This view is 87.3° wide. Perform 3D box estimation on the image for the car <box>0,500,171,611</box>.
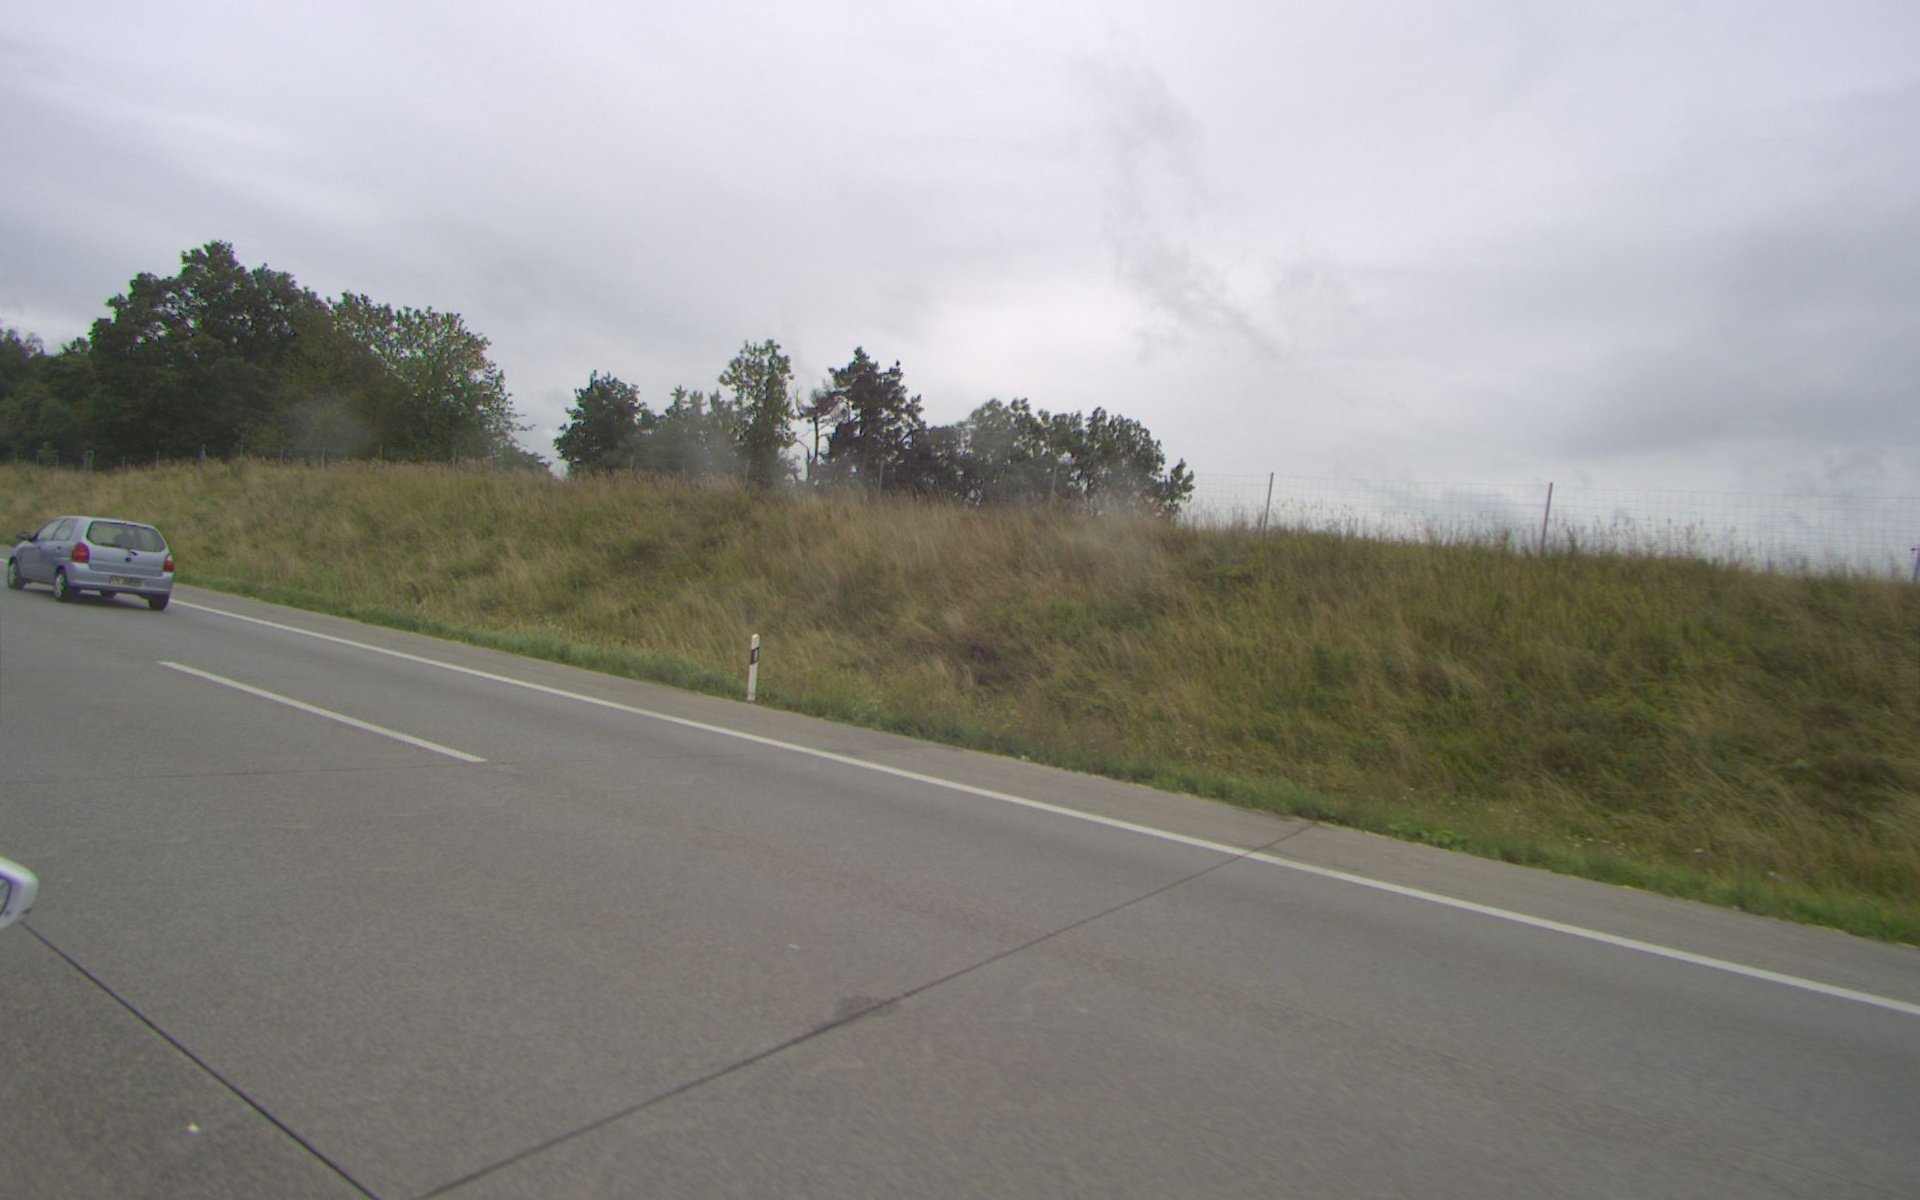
[{"bbox_3d":[-15.901,-0.823,18.042,3.445,1.488,1.488,8,0,31],"label":"car"}]
